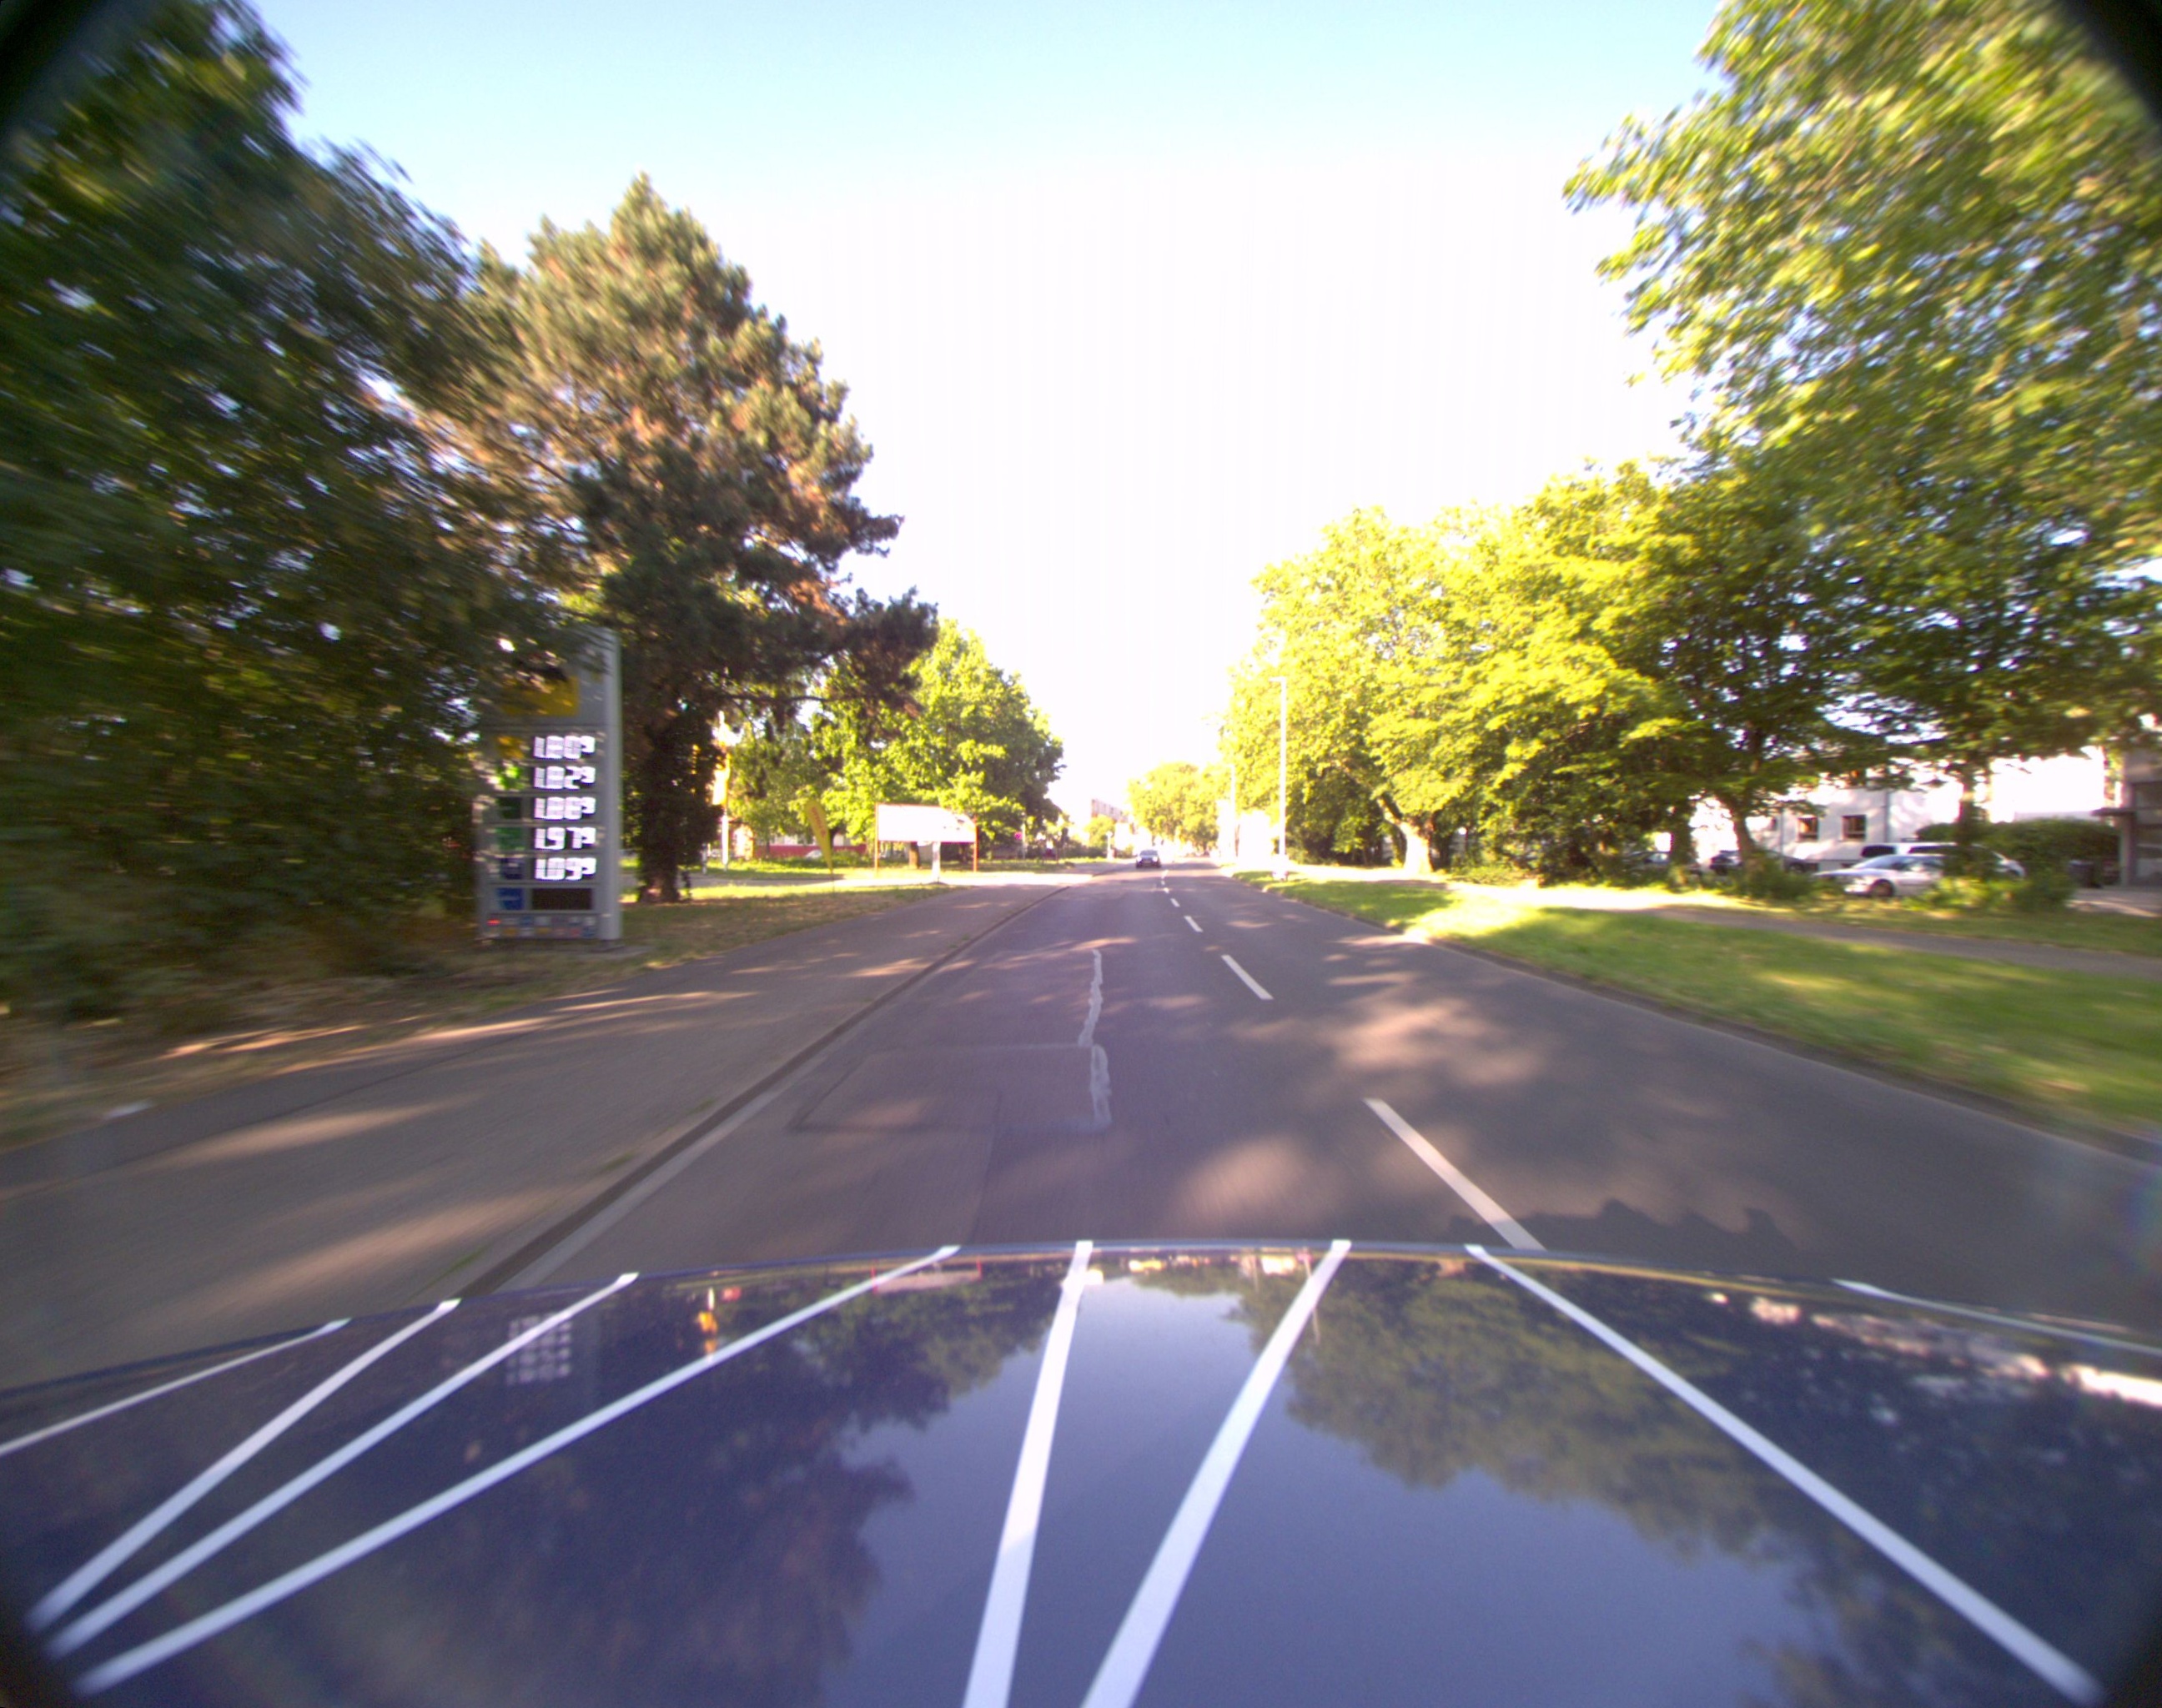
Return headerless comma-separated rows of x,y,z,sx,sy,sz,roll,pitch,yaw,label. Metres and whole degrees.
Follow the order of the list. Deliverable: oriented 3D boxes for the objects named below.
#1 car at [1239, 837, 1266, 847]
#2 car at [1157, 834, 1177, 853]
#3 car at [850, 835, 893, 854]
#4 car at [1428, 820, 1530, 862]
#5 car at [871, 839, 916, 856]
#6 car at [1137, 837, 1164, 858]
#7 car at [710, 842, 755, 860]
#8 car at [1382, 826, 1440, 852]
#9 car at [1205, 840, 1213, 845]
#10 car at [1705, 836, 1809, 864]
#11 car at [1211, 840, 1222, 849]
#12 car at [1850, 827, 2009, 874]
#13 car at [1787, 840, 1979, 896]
27.589,-1.953,122.223,3.992,1.410,1.916,-3,0,16,car
9.525,-1.228,83.637,1.933,2.002,4.002,1,2,10,car
-20.454,-0.955,74.207,4.432,1.808,1.710,1,2,38,car
26.030,-0.863,49.913,5.441,2.487,2.187,2,2,6,car
-18.788,-0.615,75.962,4.432,1.585,2.004,0,2,38,car
5.399,-0.516,58.391,1.868,1.472,4.088,1,1,8,car
-29.492,-0.244,64.284,4.185,1.467,1.792,-1,1,40,car
27.322,-1.212,62.936,3.996,2.032,1.909,0,0,1,car
37.595,-3.367,222.570,1.899,1.581,4.074,1,1,16,car
38.148,-0.246,42.969,3.995,1.543,1.925,1,1,5,car
23.738,-1.725,133.004,1.764,1.475,4.111,-1,1,12,car
36.700,-0.176,32.981,4.556,2.002,1.999,0,2,1,car
23.403,0.386,22.269,3.740,1.456,1.766,2,2,-1,car
